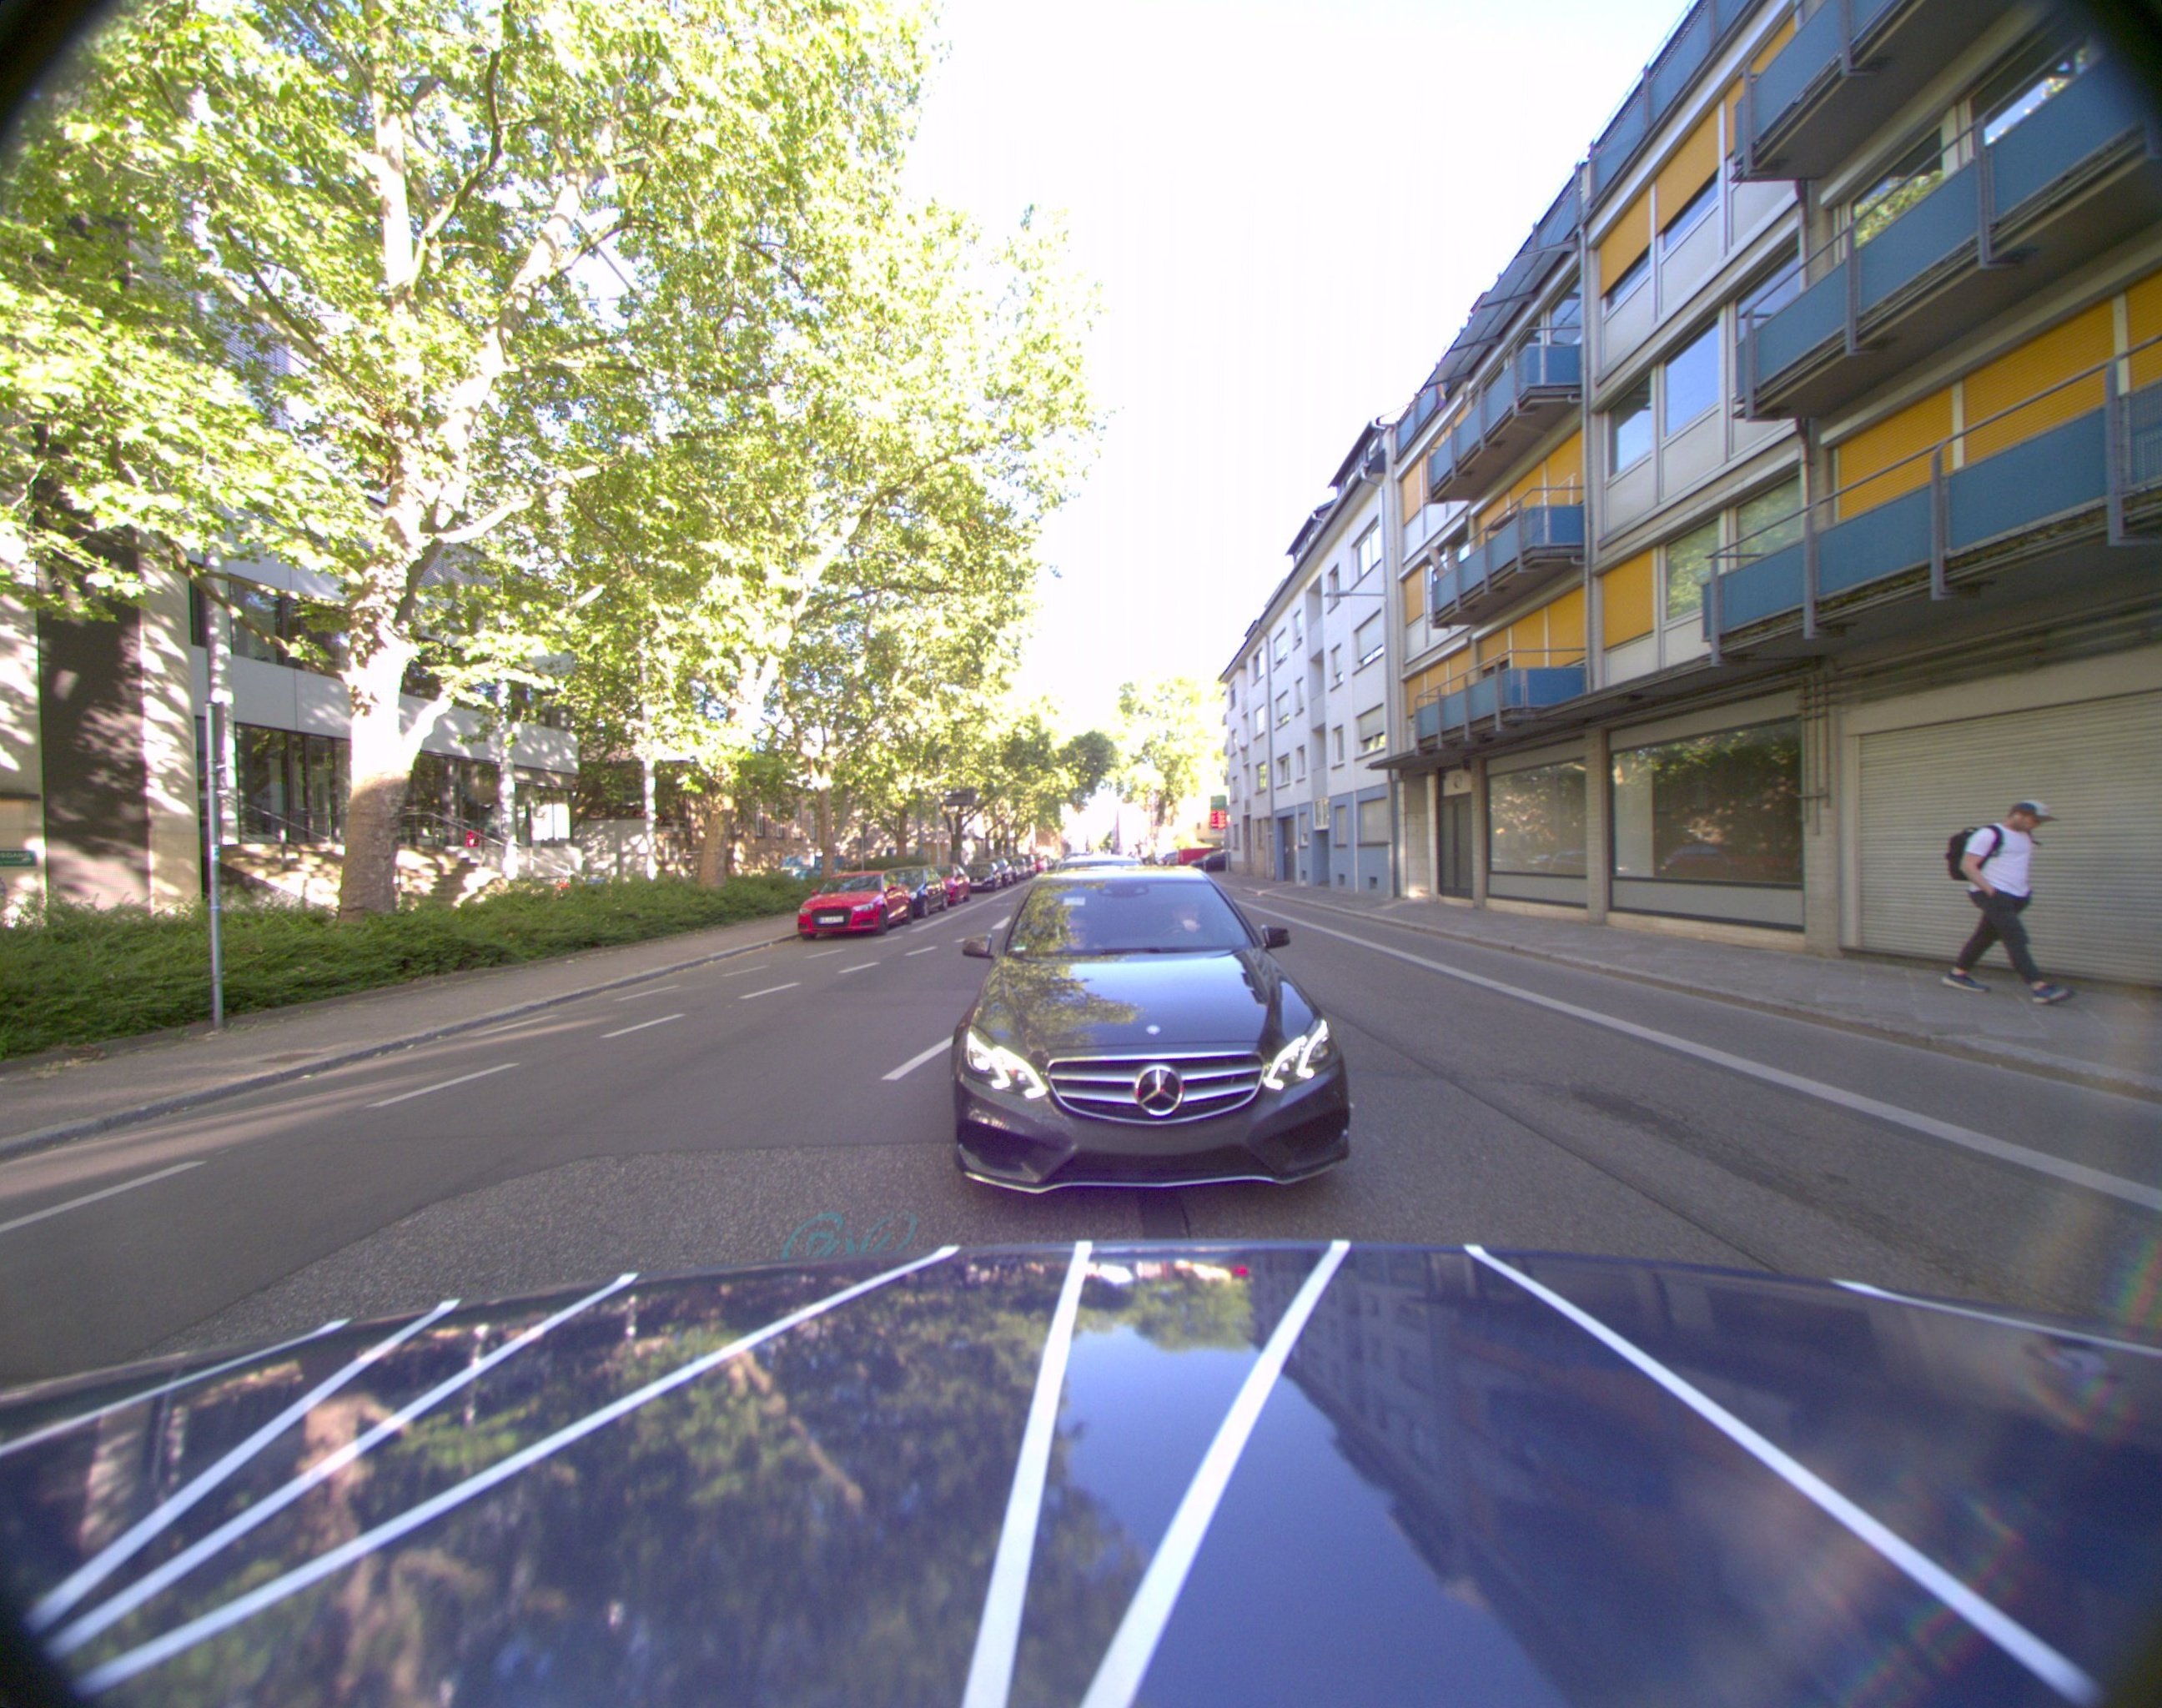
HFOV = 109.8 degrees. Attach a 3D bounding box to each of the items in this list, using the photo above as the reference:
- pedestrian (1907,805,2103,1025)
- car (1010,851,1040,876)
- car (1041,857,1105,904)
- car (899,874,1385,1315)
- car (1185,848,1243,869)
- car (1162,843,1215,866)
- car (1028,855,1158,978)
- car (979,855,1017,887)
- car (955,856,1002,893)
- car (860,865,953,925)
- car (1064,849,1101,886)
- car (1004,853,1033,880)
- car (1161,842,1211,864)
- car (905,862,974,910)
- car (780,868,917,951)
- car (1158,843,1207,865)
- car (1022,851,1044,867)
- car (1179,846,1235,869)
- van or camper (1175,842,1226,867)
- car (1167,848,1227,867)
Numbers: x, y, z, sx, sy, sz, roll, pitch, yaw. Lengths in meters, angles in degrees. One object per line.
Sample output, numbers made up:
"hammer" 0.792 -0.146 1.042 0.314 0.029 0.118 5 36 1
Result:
"pedestrian" 8.108 0.506 6.712 0.601 1.790 0.879 -3 1 1
"car" -4.393 0.724 59.733 1.992 1.795 4.376 -2 0 0
"car" -0.207 0.889 26.892 1.647 1.473 3.978 -2 0 8
"car" 0.223 0.934 4.717 1.740 1.448 3.864 -2 0 0
"car" 10.311 0.323 58.953 4.146 1.486 2.000 -2 0 1
"car" 10.910 0.024 77.331 4.990 2.181 2.000 -2 1 1
"car" 0.196 0.839 12.465 1.646 1.520 4.619 -4 0 1
"car" -4.572 0.902 42.258 1.634 1.677 3.907 -2 0 0
"car" -4.990 0.973 37.414 1.741 1.622 4.091 -2 0 0
"car" -5.052 1.135 22.560 1.741 1.444 4.091 -4 0 0
"car" 0.125 0.678 41.349 1.785 1.760 4.385 -4 0 2
"car" -4.450 0.869 54.611 1.741 1.785 3.895 -2 0 0
"car" 11.030 -0.103 80.183 4.990 2.181 2.000 -2 1 1
"car" -5.060 1.095 27.603 1.681 1.484 3.918 -4 0 0
"car" -5.225 1.175 17.657 1.830 1.519 4.142 -4 0 0
"car" 11.034 -0.009 82.814 4.990 2.181 2.000 -2 1 1
"car" -4.387 0.436 70.437 1.741 1.469 4.091 -2 0 0
"car" 10.134 0.268 61.284 4.146 1.681 2.000 -2 0 1
"van or camper" 10.056 0.023 64.191 3.997 2.002 2.000 -2 1 0
"car" 10.157 0.283 66.693 4.990 1.486 2.000 -2 0 1
